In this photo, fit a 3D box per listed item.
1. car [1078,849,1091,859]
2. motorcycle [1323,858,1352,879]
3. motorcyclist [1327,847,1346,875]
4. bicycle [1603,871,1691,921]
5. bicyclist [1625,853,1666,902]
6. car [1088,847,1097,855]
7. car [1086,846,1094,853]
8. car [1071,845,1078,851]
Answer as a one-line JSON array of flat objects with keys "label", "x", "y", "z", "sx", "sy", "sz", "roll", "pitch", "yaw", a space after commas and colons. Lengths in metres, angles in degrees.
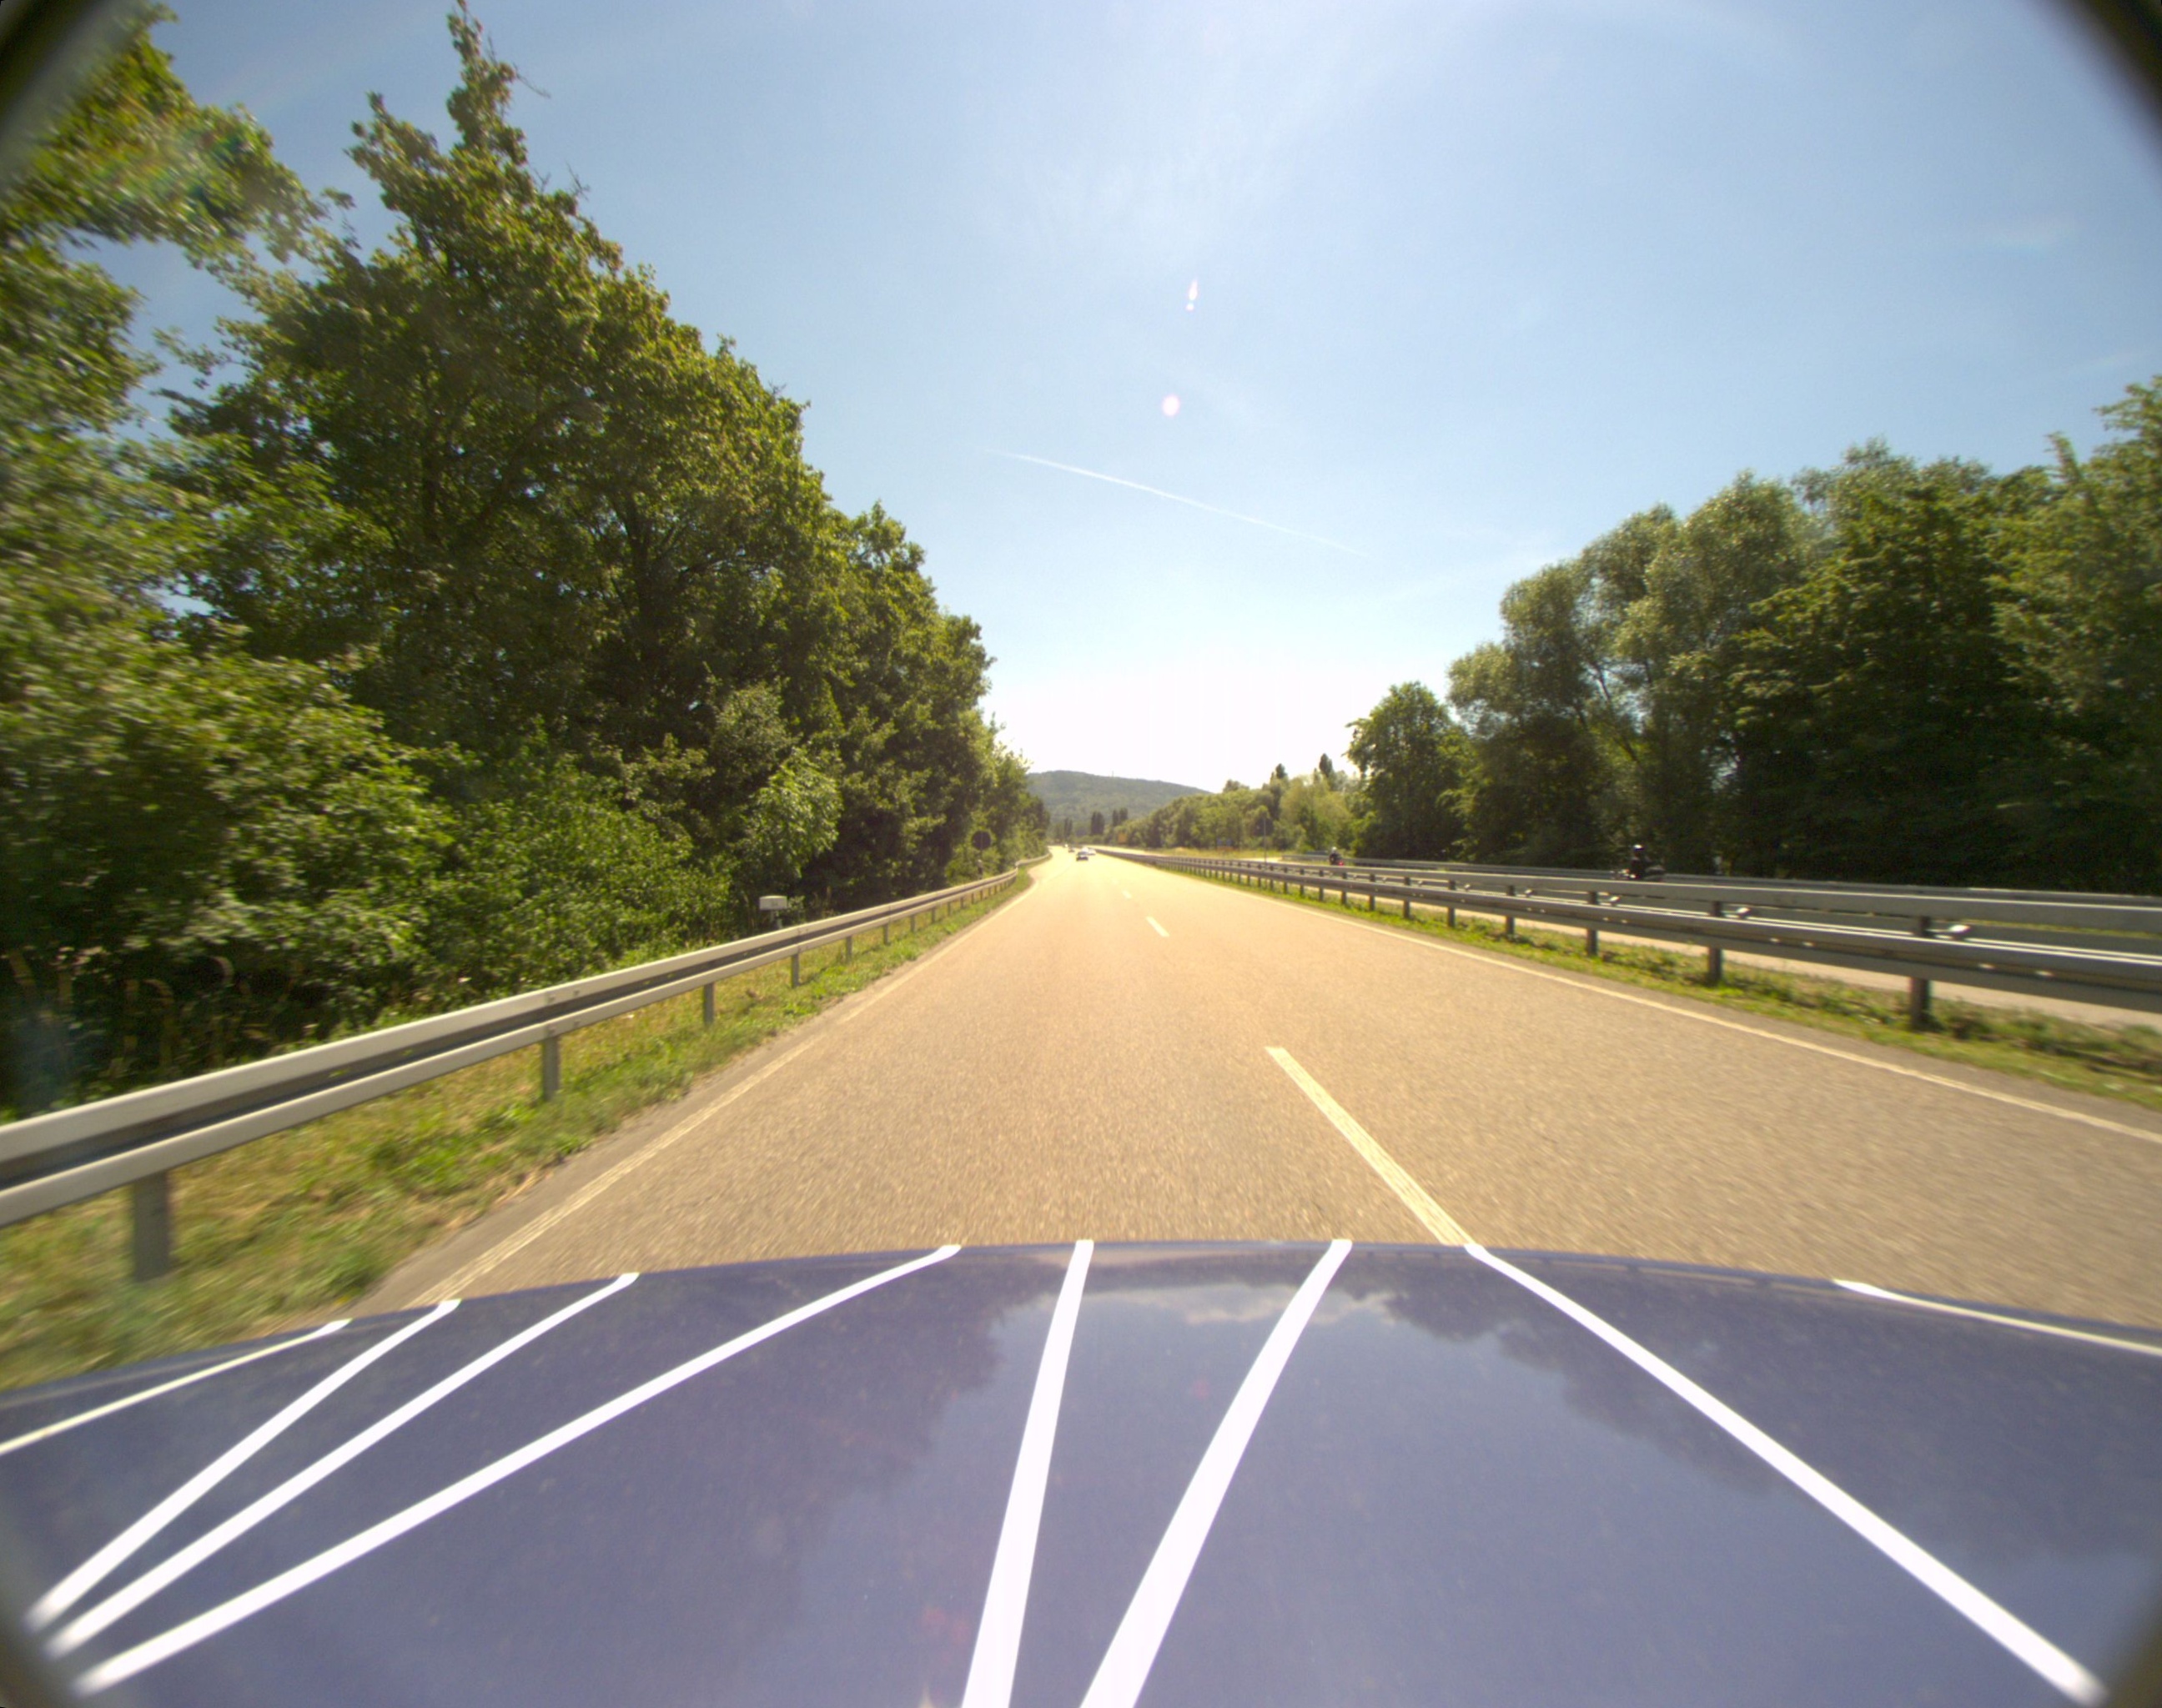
[{"label": "car", "x": 0.586, "y": -0.014, "z": 121.065, "sx": 1.908, "sy": 1.368, "sz": 3.891, "roll": -2, "pitch": 1, "yaw": 3}, {"label": "motorcycle", "x": 13.903, "y": 0.786, "z": 41.276, "sx": 0.728, "sy": 1.058, "sz": 2.666, "roll": -1, "pitch": 1, "yaw": 1}, {"label": "motorcyclist", "x": 13.914, "y": 0.360, "z": 41.410, "sx": 0.720, "sy": 1.473, "sz": 0.809, "roll": -1, "pitch": 1, "yaw": 1}, {"label": "bicycle", "x": 14.826, "y": 1.067, "z": 19.985, "sx": 0.615, "sy": 1.151, "sz": 2.280, "roll": -1, "pitch": 1, "yaw": 0}, {"label": "bicyclist", "x": 14.818, "y": 0.605, "z": 19.961, "sx": 0.615, "sy": 1.270, "sz": 0.608, "roll": -1, "pitch": 1, "yaw": 0}, {"label": "car", "x": 2.607, "y": -0.655, "z": 171.366, "sx": 1.908, "sy": 1.686, "sz": 3.891, "roll": -2, "pitch": 1, "yaw": 3}, {"label": "car", "x": 2.584, "y": -1.263, "z": 215.553, "sx": 1.908, "sy": 1.686, "sz": 3.891, "roll": -2, "pitch": 1, "yaw": 3}, {"label": "car", "x": -1.922, "y": -1.848, "z": 221.060, "sx": 1.908, "sy": 1.686, "sz": 3.891, "roll": -2, "pitch": 1, "yaw": 3}]
